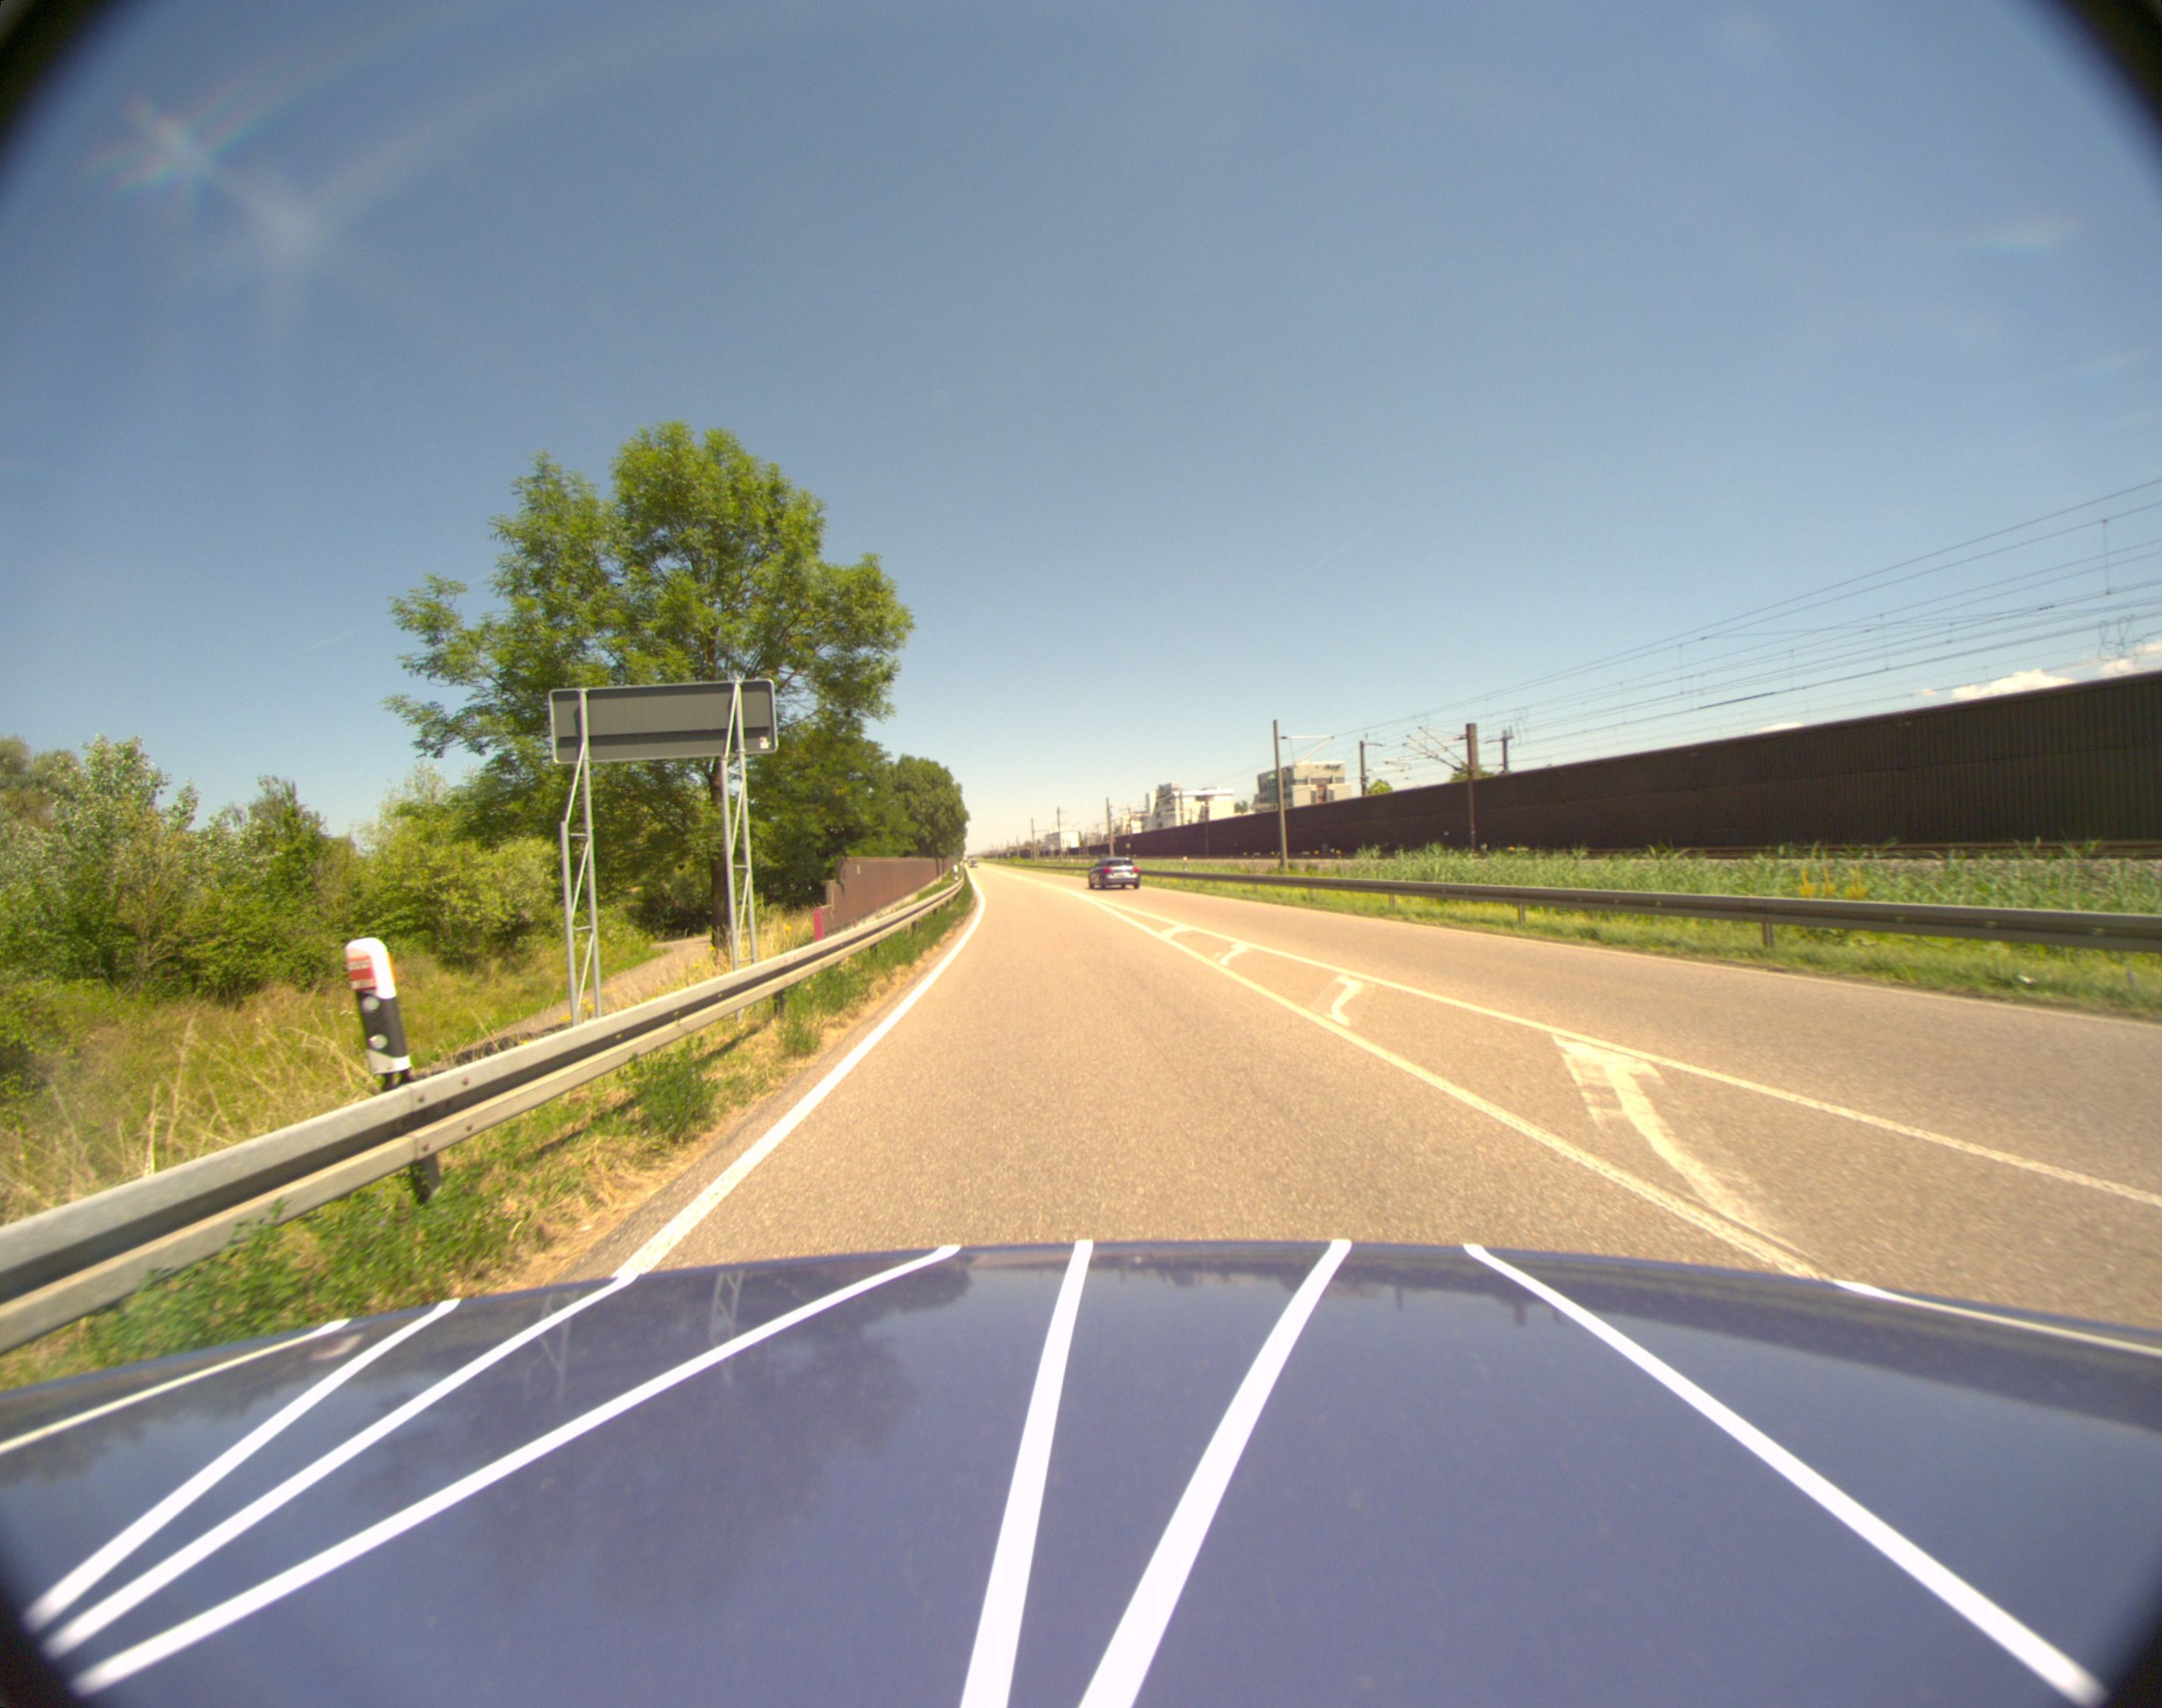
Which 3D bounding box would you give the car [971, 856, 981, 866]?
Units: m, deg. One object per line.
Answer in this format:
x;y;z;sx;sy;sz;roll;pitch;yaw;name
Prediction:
-22.822;1.582;165.727;1.999;2.002;3.998;-2;0;-6;car

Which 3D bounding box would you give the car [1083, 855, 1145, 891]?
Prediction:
1.458;0.840;35.707;1.871;1.476;4.883;-2;0;-10;car
